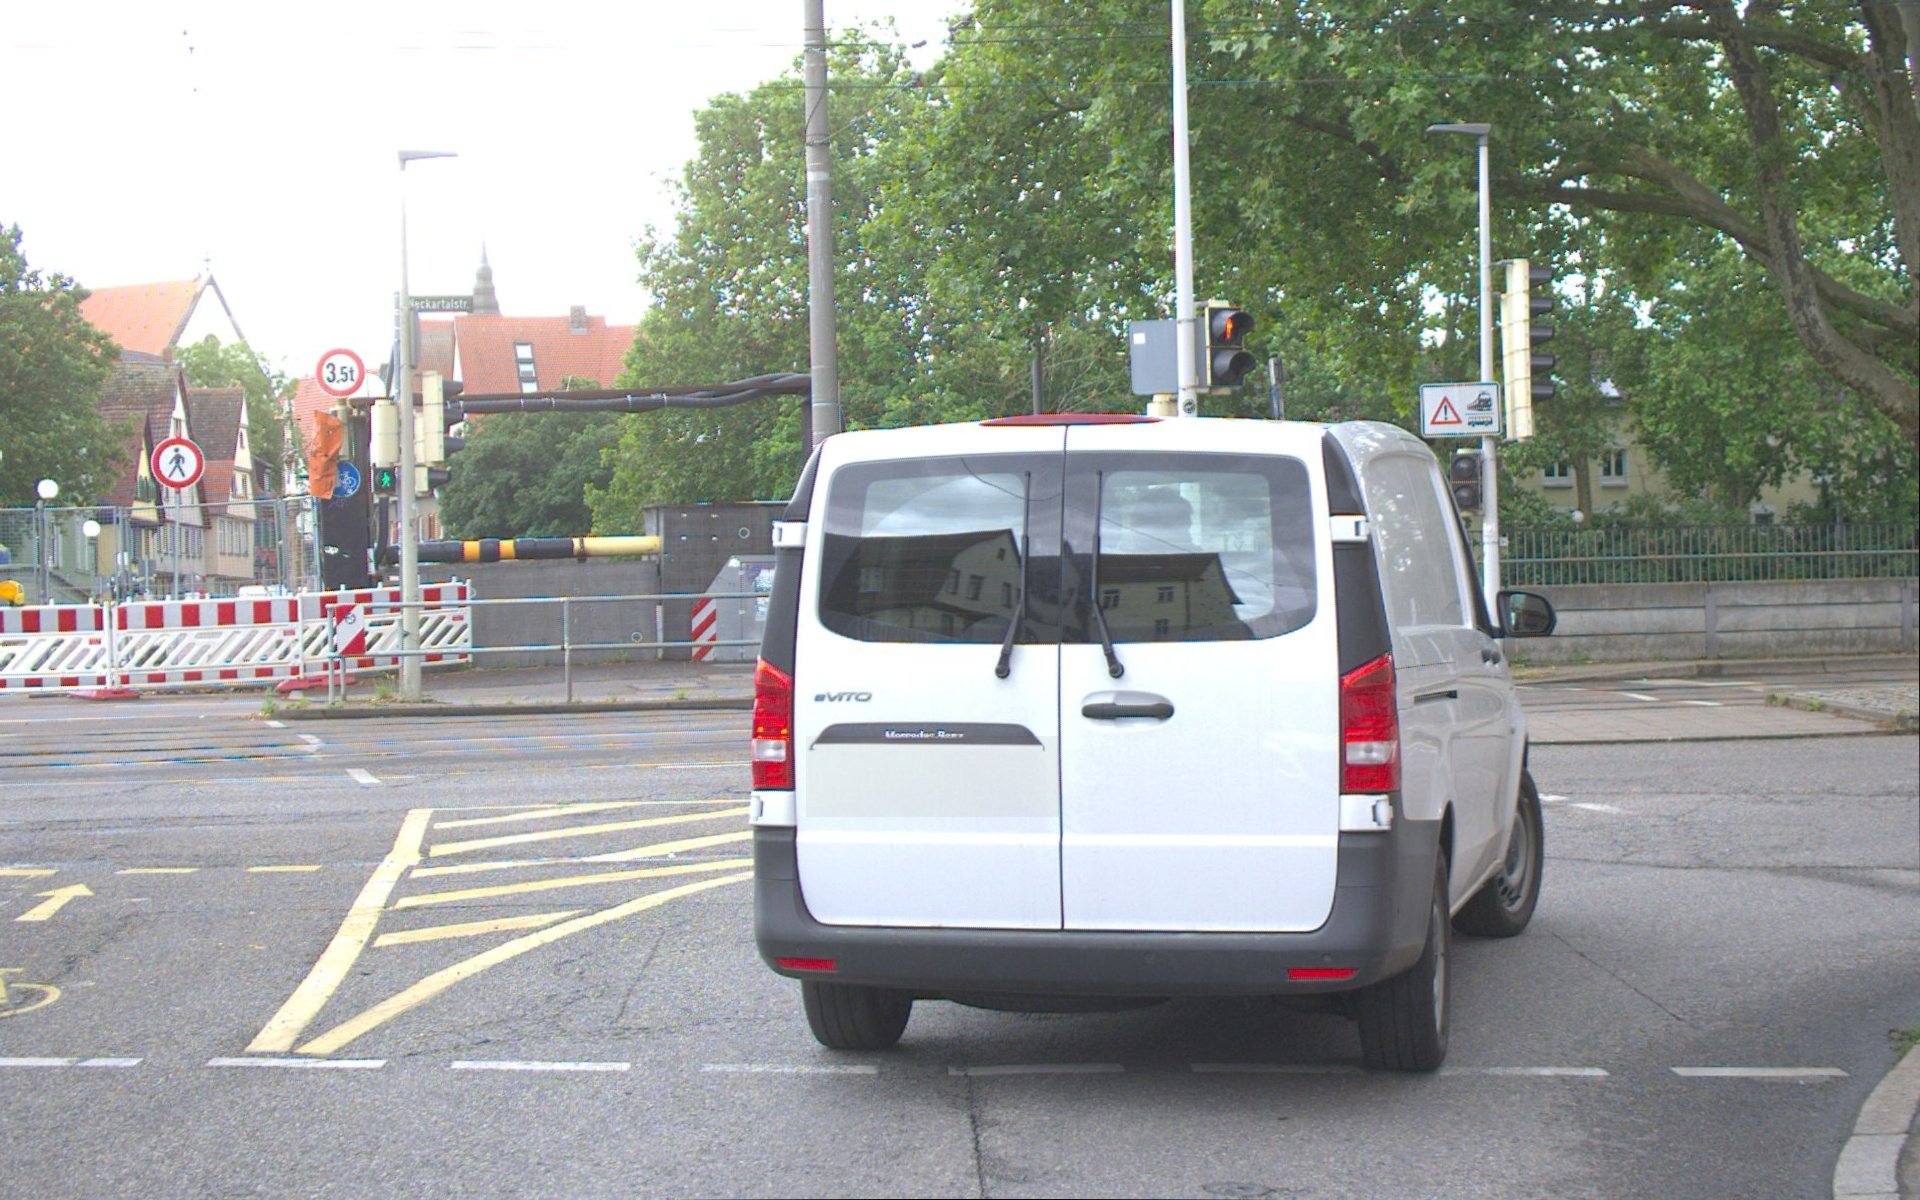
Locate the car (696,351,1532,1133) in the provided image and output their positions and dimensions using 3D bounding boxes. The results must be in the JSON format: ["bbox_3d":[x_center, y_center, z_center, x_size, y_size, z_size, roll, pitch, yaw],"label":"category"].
[{"bbox_3d":[0.761,0.322,11.331,1.952,2.007,4.695,0,1,13],"label":"car"}]
